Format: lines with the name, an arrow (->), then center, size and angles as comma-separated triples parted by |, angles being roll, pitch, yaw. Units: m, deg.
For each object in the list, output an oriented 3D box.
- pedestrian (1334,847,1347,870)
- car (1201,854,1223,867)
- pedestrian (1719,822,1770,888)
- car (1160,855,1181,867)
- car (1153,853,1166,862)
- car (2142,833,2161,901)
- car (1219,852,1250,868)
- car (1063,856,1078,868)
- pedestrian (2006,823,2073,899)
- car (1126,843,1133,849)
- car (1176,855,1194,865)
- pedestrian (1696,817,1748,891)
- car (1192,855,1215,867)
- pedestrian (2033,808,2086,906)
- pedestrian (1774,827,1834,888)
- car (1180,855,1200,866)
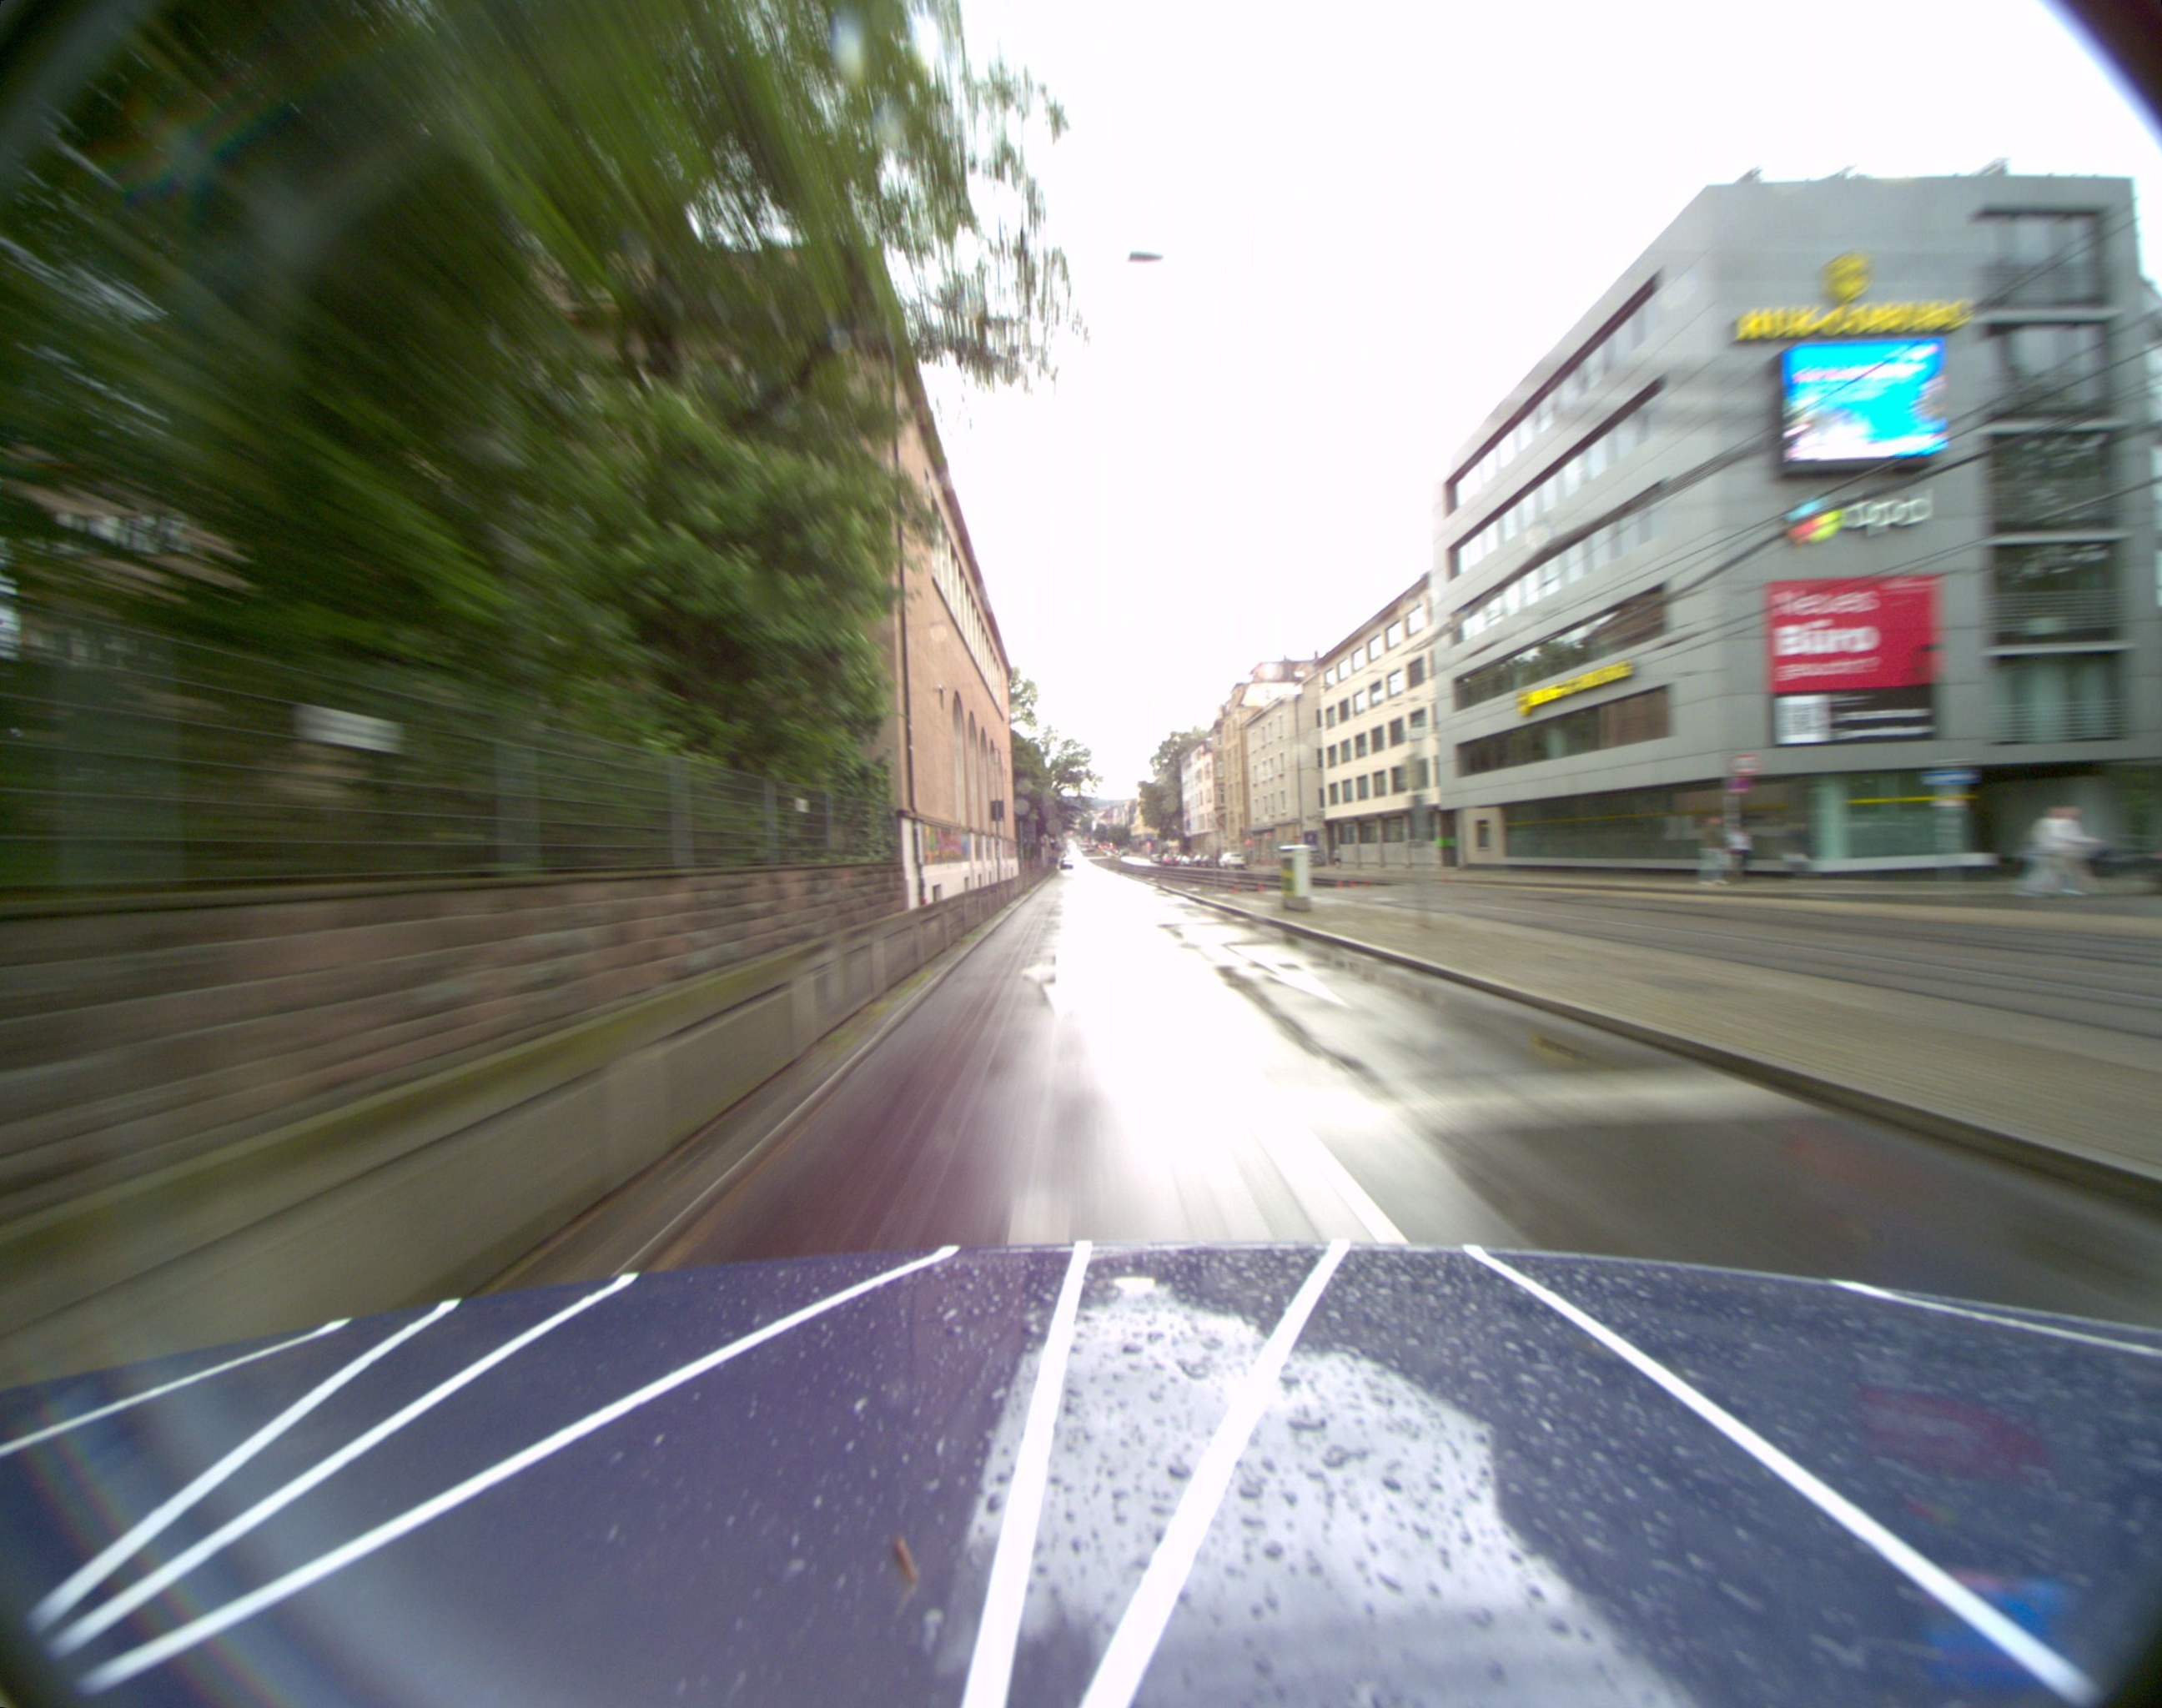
pedestrian -> 18.702, 0.332, 54.734 | 0.548, 1.603, 0.798 | -5, 1, 2
car -> 14.917, 0.712, 86.918 | 1.741, 1.447, 4.170 | 1, 0, -1
pedestrian -> 19.021, 0.027, 21.796 | 0.971, 1.805, 0.664 | -4, 1, 35
car -> 11.561, 0.916, 98.445 | 1.945, 1.527, 4.347 | 1, 0, -4
car -> 14.718, 0.663, 142.586 | 1.843, 1.532, 4.228 | -1, 0, 0
car -> 26.432, 0.263, 17.475 | 3.746, 1.541, 1.699 | -1, 0, -25
car -> 15.130, 0.596, 75.259 | 1.999, 1.527, 4.748 | 1, 0, -1
car -> -1.366, 1.090, 101.496 | 1.788, 1.521, 4.244 | -3, 0, 0
pedestrian -> 20.856, 0.146, 16.545 | 0.588, 1.585, 0.636 | -4, 1, 17
car -> 16.233, -2.615, 252.965 | 1.998, 1.674, 4.000 | -3, 0, 0
car -> 14.751, 0.805, 108.265 | 1.843, 1.389, 4.265 | -1, 0, -2
pedestrian -> 18.230, 0.000, 21.624 | 0.662, 2.002, 0.810 | -4, 1, -2
car -> 14.833, 0.797, 92.250 | 1.999, 1.447, 5.021 | 1, 0, -1
pedestrian -> 20.574, 0.058, 15.987 | 0.664, 2.002, 0.615 | -5, 1, -39
pedestrian -> 19.823, 0.095, 20.844 | 0.965, 1.585, 0.589 | -4, 1, 14
car -> 14.757, 0.815, 102.861 | 1.998, 1.389, 5.022 | 1, 0, 0
